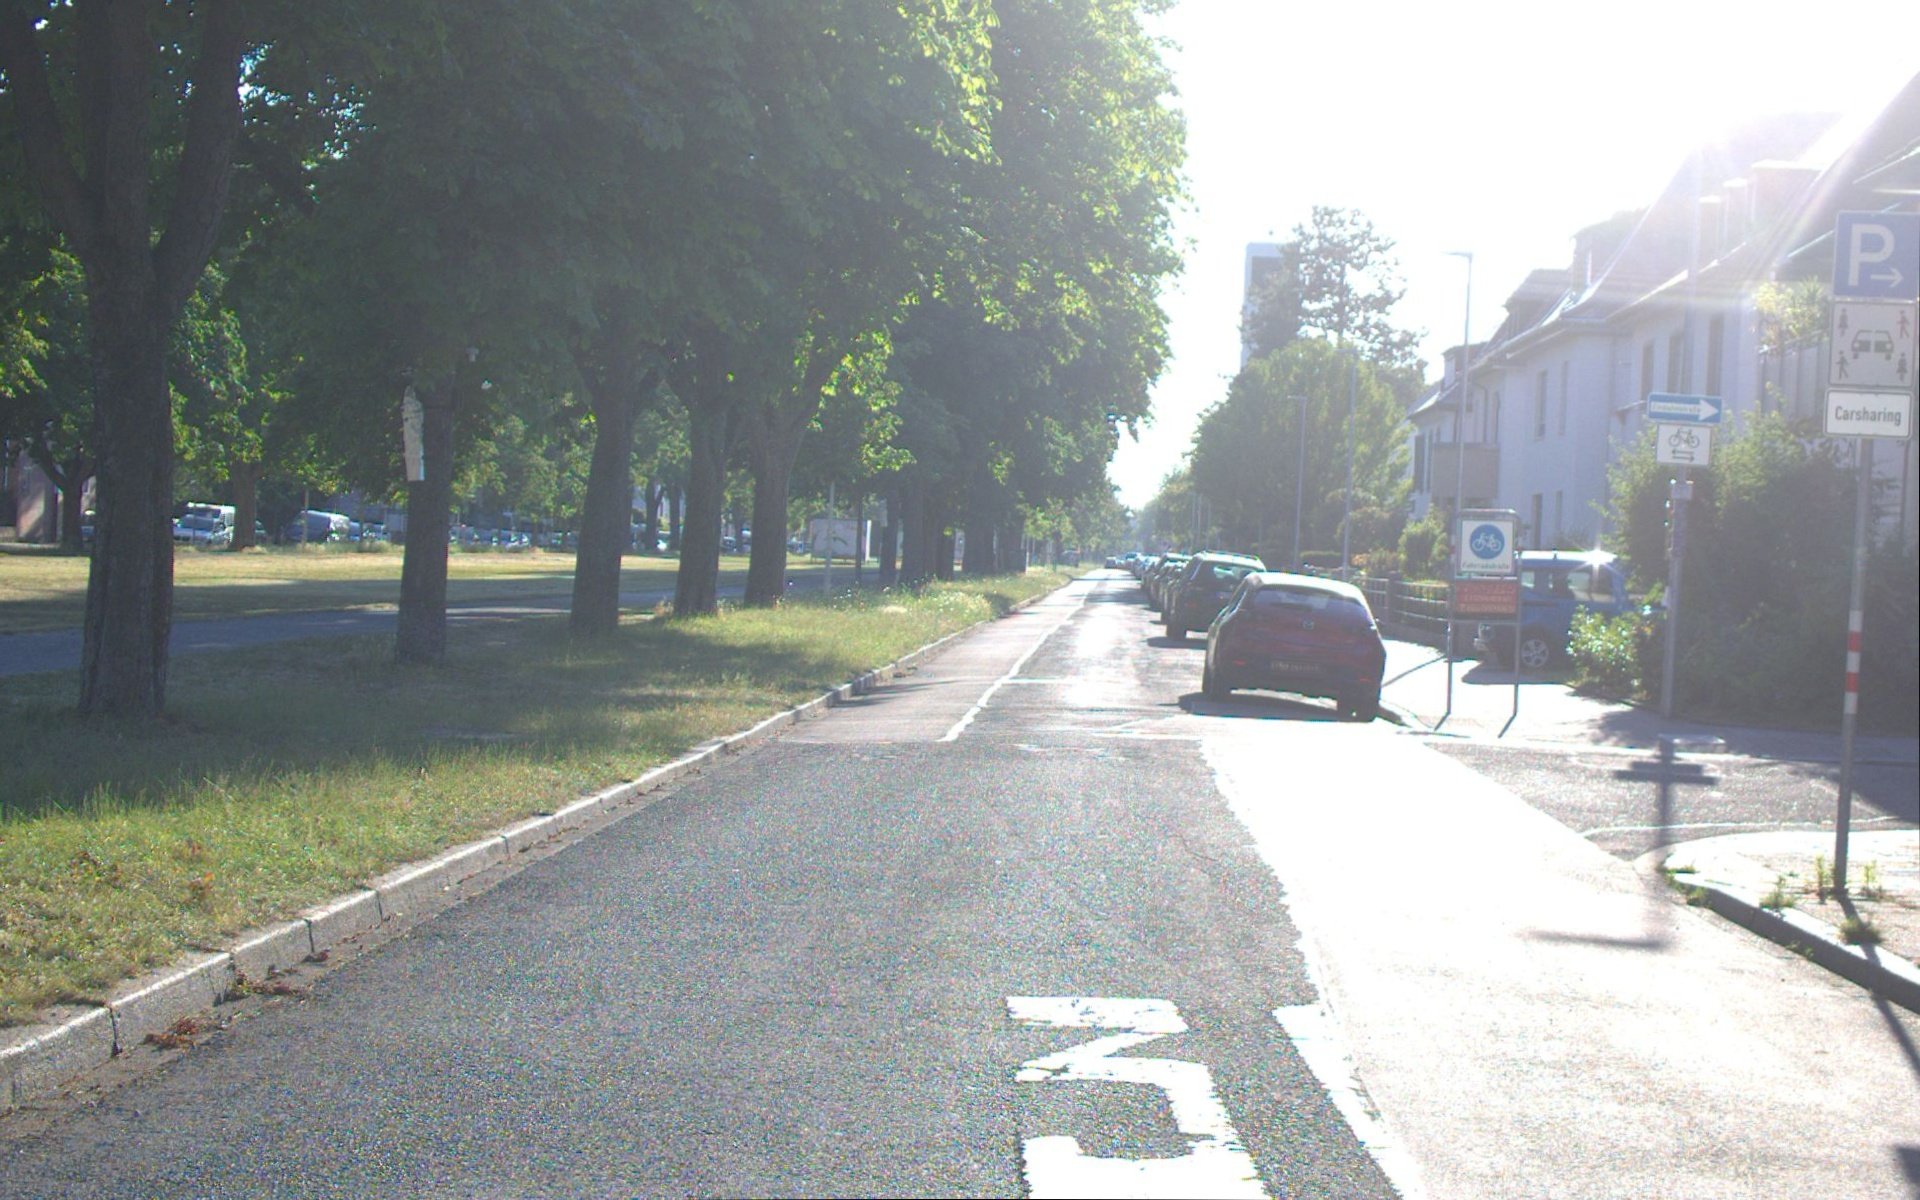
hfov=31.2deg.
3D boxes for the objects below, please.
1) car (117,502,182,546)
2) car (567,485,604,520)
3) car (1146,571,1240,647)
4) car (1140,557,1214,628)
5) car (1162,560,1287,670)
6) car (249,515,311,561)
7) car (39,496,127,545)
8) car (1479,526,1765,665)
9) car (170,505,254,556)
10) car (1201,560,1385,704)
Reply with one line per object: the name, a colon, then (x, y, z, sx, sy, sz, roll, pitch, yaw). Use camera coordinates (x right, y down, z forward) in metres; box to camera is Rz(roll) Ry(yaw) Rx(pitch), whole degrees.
car: (-33.947, -3.180, 144.115, 1.639, 1.637, 3.854, 5, 0, 1)
car: (-23.564, -6.138, 216.545, 1.654, 1.932, 3.567, 5, -1, 2)
car: (5.530, 0.217, 81.874, 1.994, 1.648, 4.000, 3, 0, 2)
car: (6.757, -0.243, 107.380, 1.994, 2.007, 4.000, 5, 0, 2)
car: (4.866, 0.245, 63.710, 1.994, 1.775, 4.000, 5, 1, 2)
car: (-29.641, -2.691, 150.018, 1.728, 1.684, 3.878, 5, -1, 1)
car: (-34.765, -3.140, 136.381, 1.994, 1.653, 4.354, 5, 0, 4)
car: (10.130, -0.048, 52.795, 3.987, 1.816, 1.760, 3, -5, -1)
car: (-28.365, -2.628, 130.477, 2.023, 1.653, 3.983, 5, 0, 3)
car: (3.615, 0.338, 37.933, 1.710, 1.355, 4.202, 5, 0, 3)
